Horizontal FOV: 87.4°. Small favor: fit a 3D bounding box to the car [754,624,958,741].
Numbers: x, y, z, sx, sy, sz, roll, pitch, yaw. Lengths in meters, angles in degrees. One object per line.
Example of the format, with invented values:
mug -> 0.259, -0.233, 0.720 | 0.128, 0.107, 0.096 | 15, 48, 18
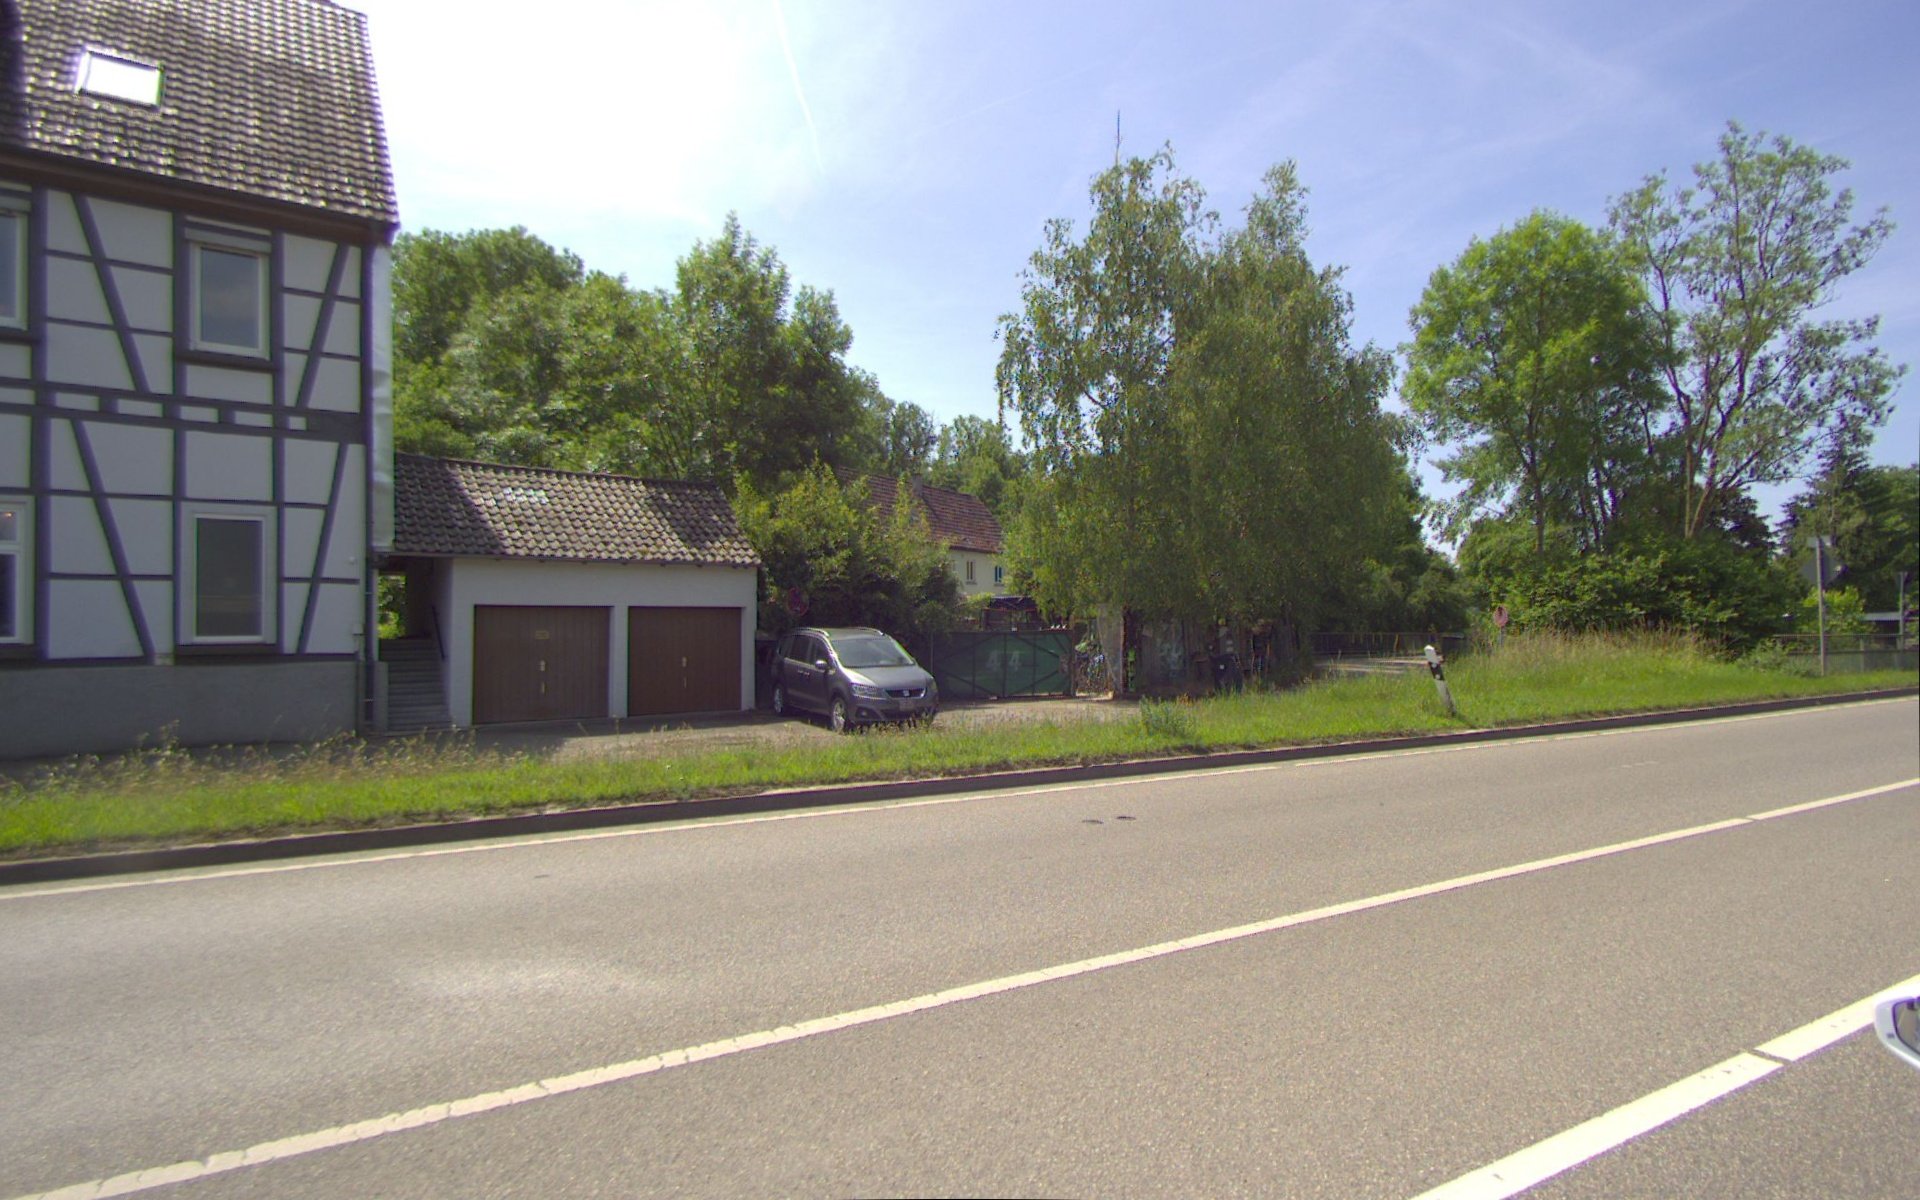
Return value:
car -> -2.079, 1.401, 18.708 | 1.842, 1.743, 4.634 | -1, 1, -34
